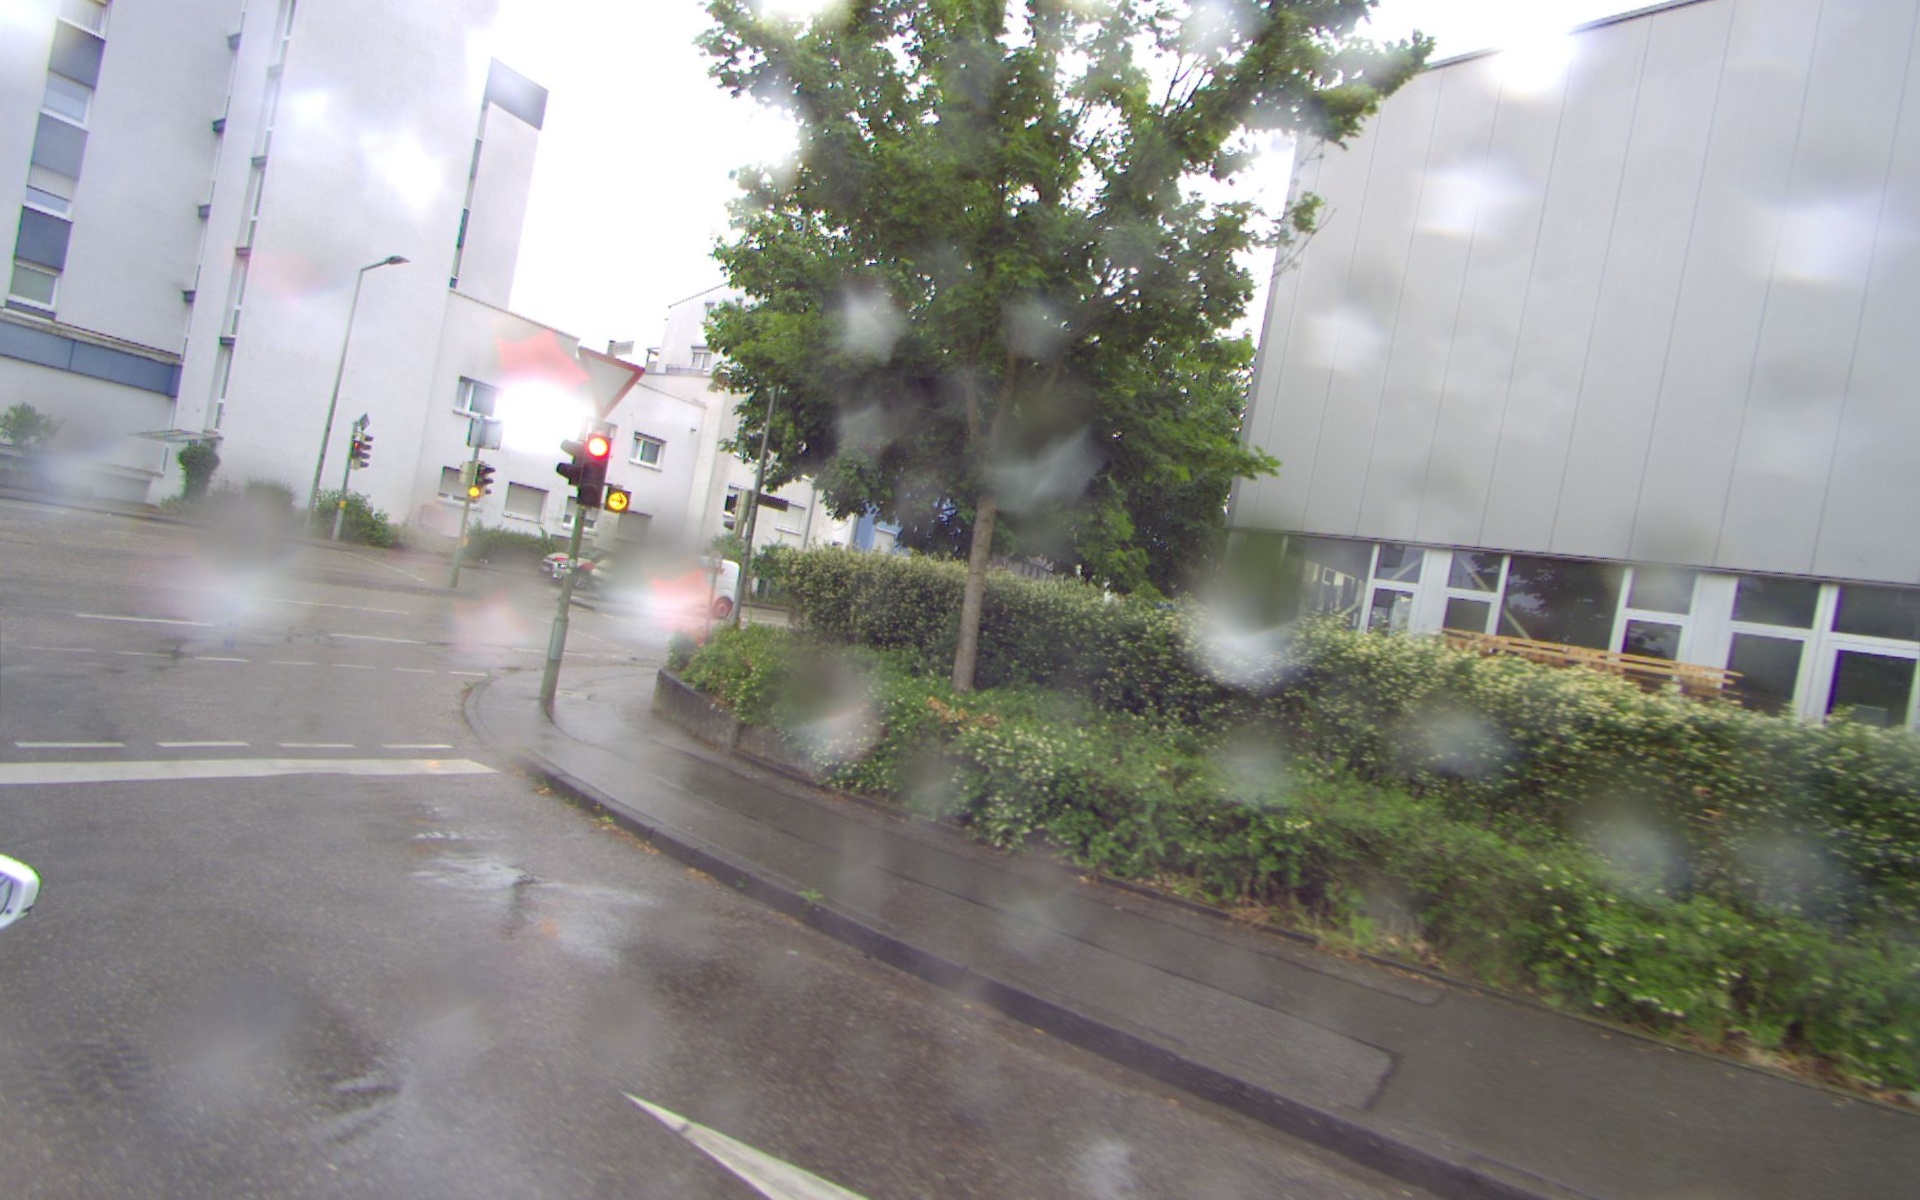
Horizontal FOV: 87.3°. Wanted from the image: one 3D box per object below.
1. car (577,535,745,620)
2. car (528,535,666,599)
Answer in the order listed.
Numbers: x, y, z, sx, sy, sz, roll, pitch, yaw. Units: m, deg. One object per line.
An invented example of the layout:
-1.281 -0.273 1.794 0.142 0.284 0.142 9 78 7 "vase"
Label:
-9.446 -0.670 32.158 1.800 1.939 4.816 7 -2 39 "car"
-12.265 -1.086 34.196 1.803 1.485 3.989 9 0 36 "car"
